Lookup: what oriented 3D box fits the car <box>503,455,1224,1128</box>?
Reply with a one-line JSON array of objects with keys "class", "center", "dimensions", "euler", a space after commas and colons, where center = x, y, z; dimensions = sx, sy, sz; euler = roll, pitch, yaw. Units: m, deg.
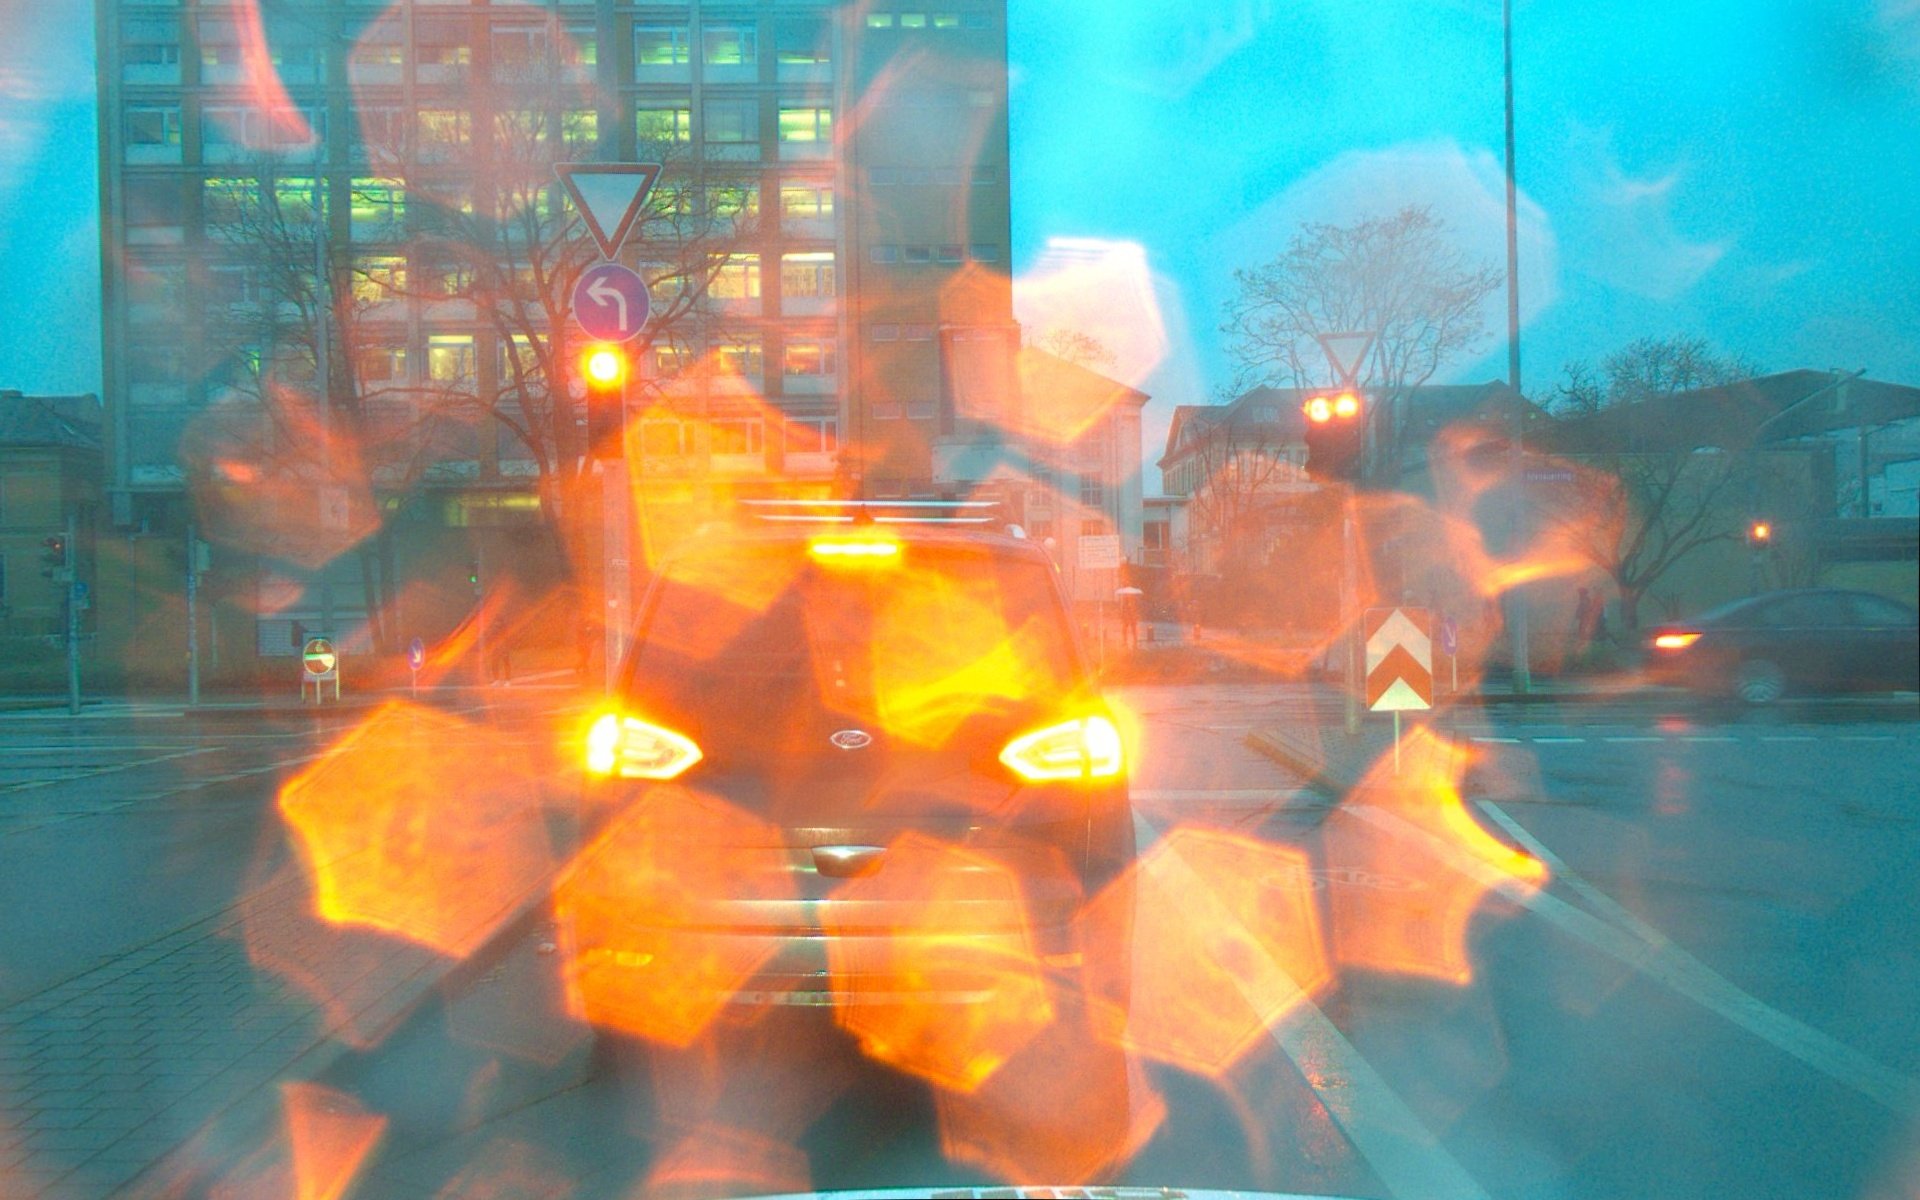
[{"class": "car", "center": [-0.287, 0.538, 6.547], "dimensions": [1.953, 1.821, 3.999], "euler": [1, 0, -1]}]

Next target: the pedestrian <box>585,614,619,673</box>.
[{"class": "pedestrian", "center": [-10.320, 1.245, 47.690], "dimensions": [0.743, 1.656, 0.558], "euler": [-2, 0, 12]}]

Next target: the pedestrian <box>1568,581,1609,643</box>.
[{"class": "pedestrian", "center": [16.226, 0.307, 42.706], "dimensions": [0.874, 1.559, 0.886], "euler": [-2, 0, 16]}]

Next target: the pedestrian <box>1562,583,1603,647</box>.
[{"class": "pedestrian", "center": [15.675, 0.369, 41.662], "dimensions": [0.905, 1.559, 1.043], "euler": [-2, 0, 19]}]

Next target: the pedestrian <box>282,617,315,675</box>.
[{"class": "pedestrian", "center": [-20.159, 1.397, 50.395], "dimensions": [0.625, 1.718, 0.637], "euler": [-2, 0, 16]}]

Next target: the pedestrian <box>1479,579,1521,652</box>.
[{"class": "pedestrian", "center": [14.026, 0.396, 42.971], "dimensions": [0.975, 1.831, 0.920], "euler": [-2, 0, 17]}]

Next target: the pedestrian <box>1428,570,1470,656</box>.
[{"class": "pedestrian", "center": [12.544, 0.327, 42.456], "dimensions": [0.874, 2.150, 0.886], "euler": [-2, 0, 11]}]

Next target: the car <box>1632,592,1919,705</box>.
[{"class": "car", "center": [11.390, 0.595, 21.477], "dimensions": [4.584, 1.324, 1.940], "euler": [-2, -1, 8]}]

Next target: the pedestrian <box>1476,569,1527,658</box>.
[{"class": "pedestrian", "center": [13.453, 0.320, 41.105], "dimensions": [0.876, 2.150, 0.884], "euler": [-2, 0, -7]}]

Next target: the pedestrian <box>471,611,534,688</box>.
[{"class": "pedestrian", "center": [-11.777, 1.266, 42.591], "dimensions": [0.981, 1.874, 1.139], "euler": [-2, 2, 22]}]

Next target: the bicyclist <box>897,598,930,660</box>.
[{"class": "bicyclist", "center": [-1.234, 0.777, 44.332], "dimensions": [0.670, 1.627, 0.660], "euler": [-2, 0, 15]}]

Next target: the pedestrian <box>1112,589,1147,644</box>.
[{"class": "pedestrian", "center": [5.248, 0.510, 51.200], "dimensions": [0.708, 1.656, 0.758], "euler": [-2, 0, 40]}]
